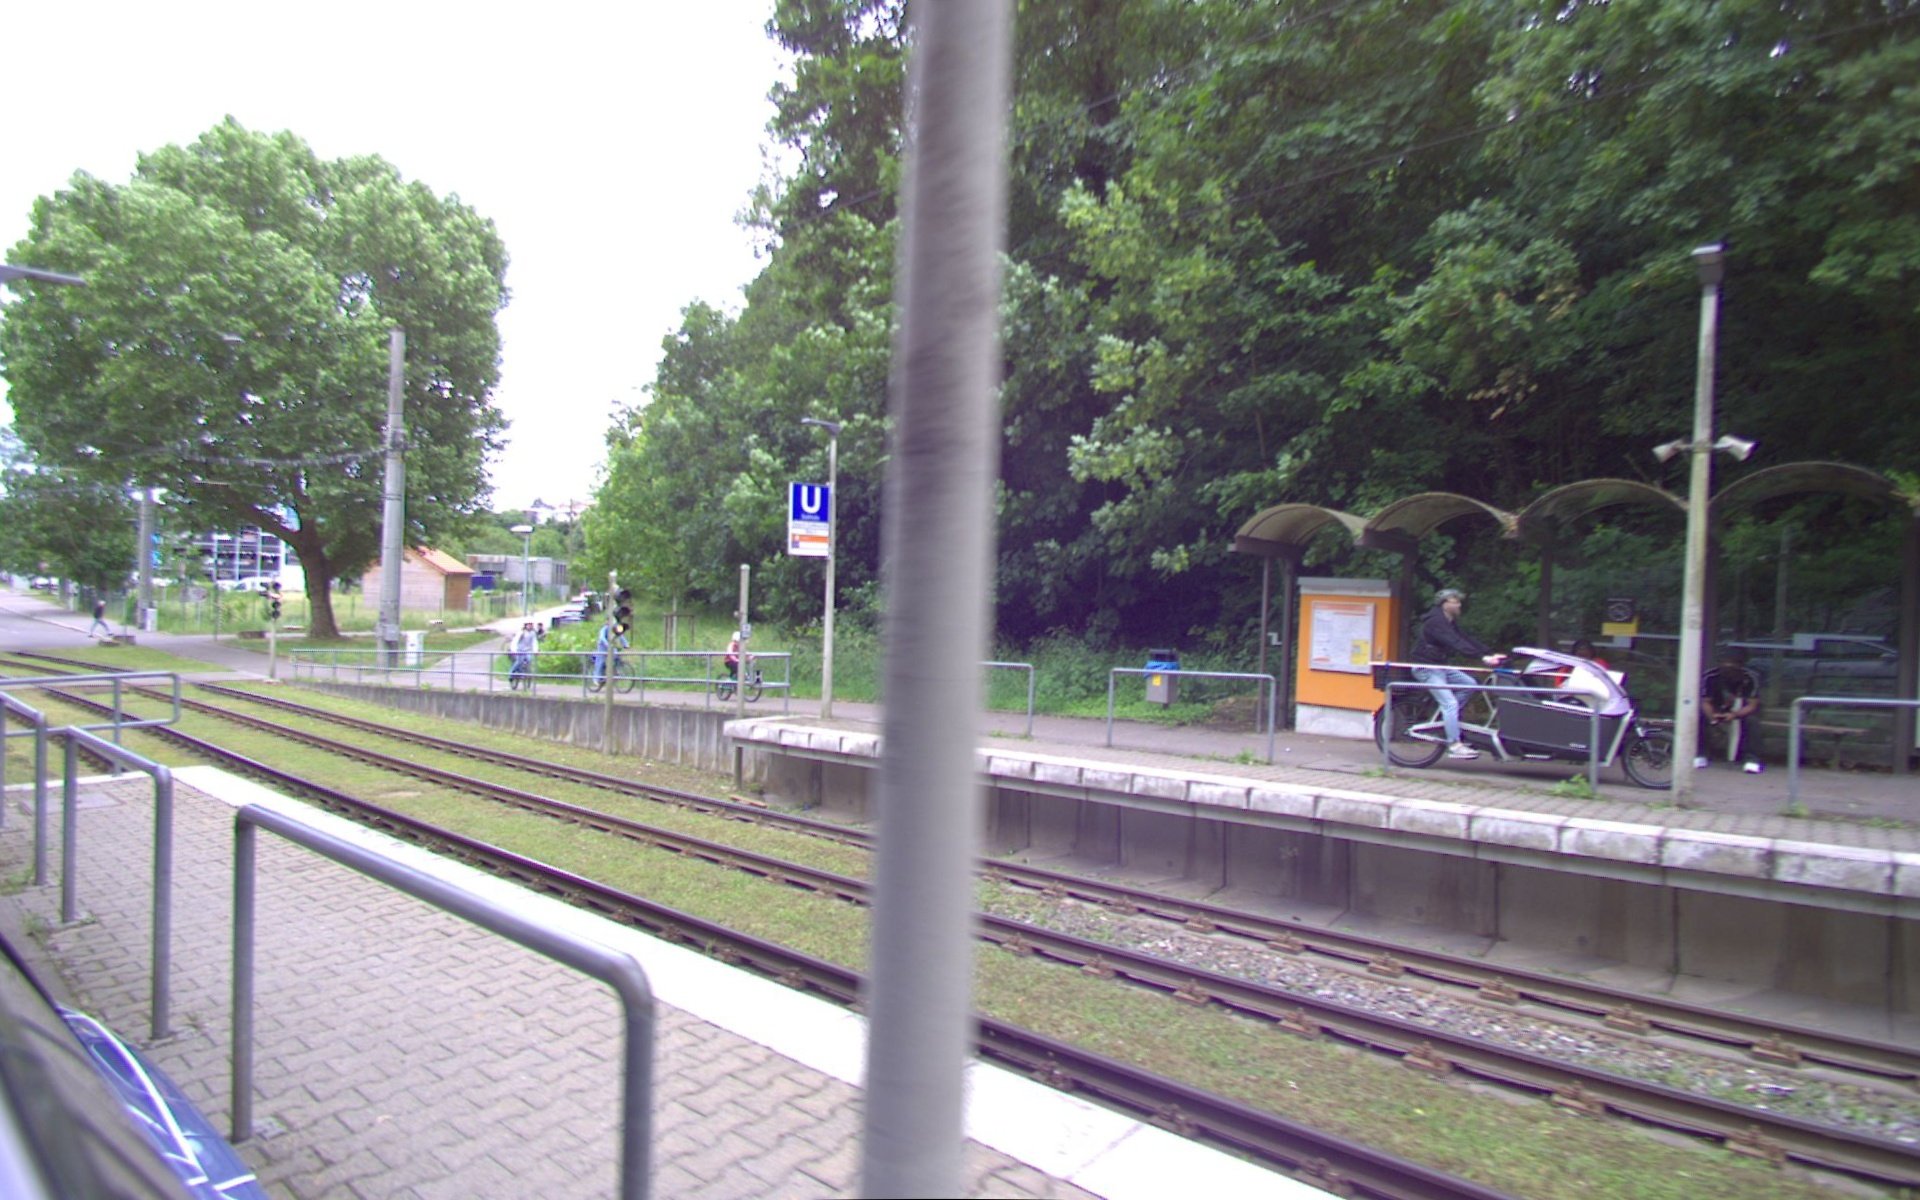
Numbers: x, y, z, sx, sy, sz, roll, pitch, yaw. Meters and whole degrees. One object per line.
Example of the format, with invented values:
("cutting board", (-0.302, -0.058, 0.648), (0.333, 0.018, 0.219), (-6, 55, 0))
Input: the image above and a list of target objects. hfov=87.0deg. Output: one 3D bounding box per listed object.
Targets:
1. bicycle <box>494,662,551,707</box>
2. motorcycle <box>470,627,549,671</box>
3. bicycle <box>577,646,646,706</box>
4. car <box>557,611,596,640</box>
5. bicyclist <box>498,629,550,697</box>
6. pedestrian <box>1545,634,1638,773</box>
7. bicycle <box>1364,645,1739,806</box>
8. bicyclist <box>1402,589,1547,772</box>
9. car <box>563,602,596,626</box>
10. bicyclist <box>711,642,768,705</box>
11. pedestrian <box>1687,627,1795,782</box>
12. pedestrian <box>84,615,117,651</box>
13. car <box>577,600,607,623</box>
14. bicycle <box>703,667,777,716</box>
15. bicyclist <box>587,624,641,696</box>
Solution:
("bicycle", (-9.654, 1.837, 22.288), (1.845, 0.932, 0.472), (-4, -3, 44))
("motorcycle", (-17.495, 1.880, 39.414), (1.247, 1.564, 3.046), (0, 0, 14))
("bicycle", (-7.297, 1.572, 21.162), (1.939, 1.197, 0.458), (-3, -2, 41))
("car", (-23.131, 1.496, 61.149), (1.966, 1.696, 4.012), (0, 0, -17))
("bicyclist", (-9.582, 1.368, 22.217), (0.908, 1.442, 0.736), (-4, -3, 44))
("pedestrian", (6.552, 1.030, 10.489), (0.772, 1.333, 0.813), (0, -1, 35))
("bicycle", (5.326, 1.057, 9.357), (0.742, 1.249, 2.868), (-1, -1, -45))
("bicyclist", (4.941, 0.738, 9.742), (1.033, 1.641, 0.696), (-3, -1, 45))
("car", (-27.275, 0.977, 72.638), (1.966, 1.696, 4.012), (0, 0, -17))
("bicyclist", (-3.918, 1.287, 17.964), (0.744, 1.061, 0.682), (-3, -2, 41))
("pedestrian", (7.485, 0.964, 9.739), (0.772, 1.385, 0.813), (0, -1, 35))
("pedestrian", (-41.848, 1.593, 49.293), (1.099, 1.747, 0.696), (0, -1, -26))
("car", (-28.259, 0.896, 77.771), (1.966, 1.696, 4.012), (0, 0, -17))
("bicycle", (-3.932, 1.611, 18.009), (1.564, 0.787, 0.445), (-2, -2, 42))
("bicyclist", (-7.221, 1.240, 21.123), (0.839, 1.454, 0.722), (-3, -2, 40))
